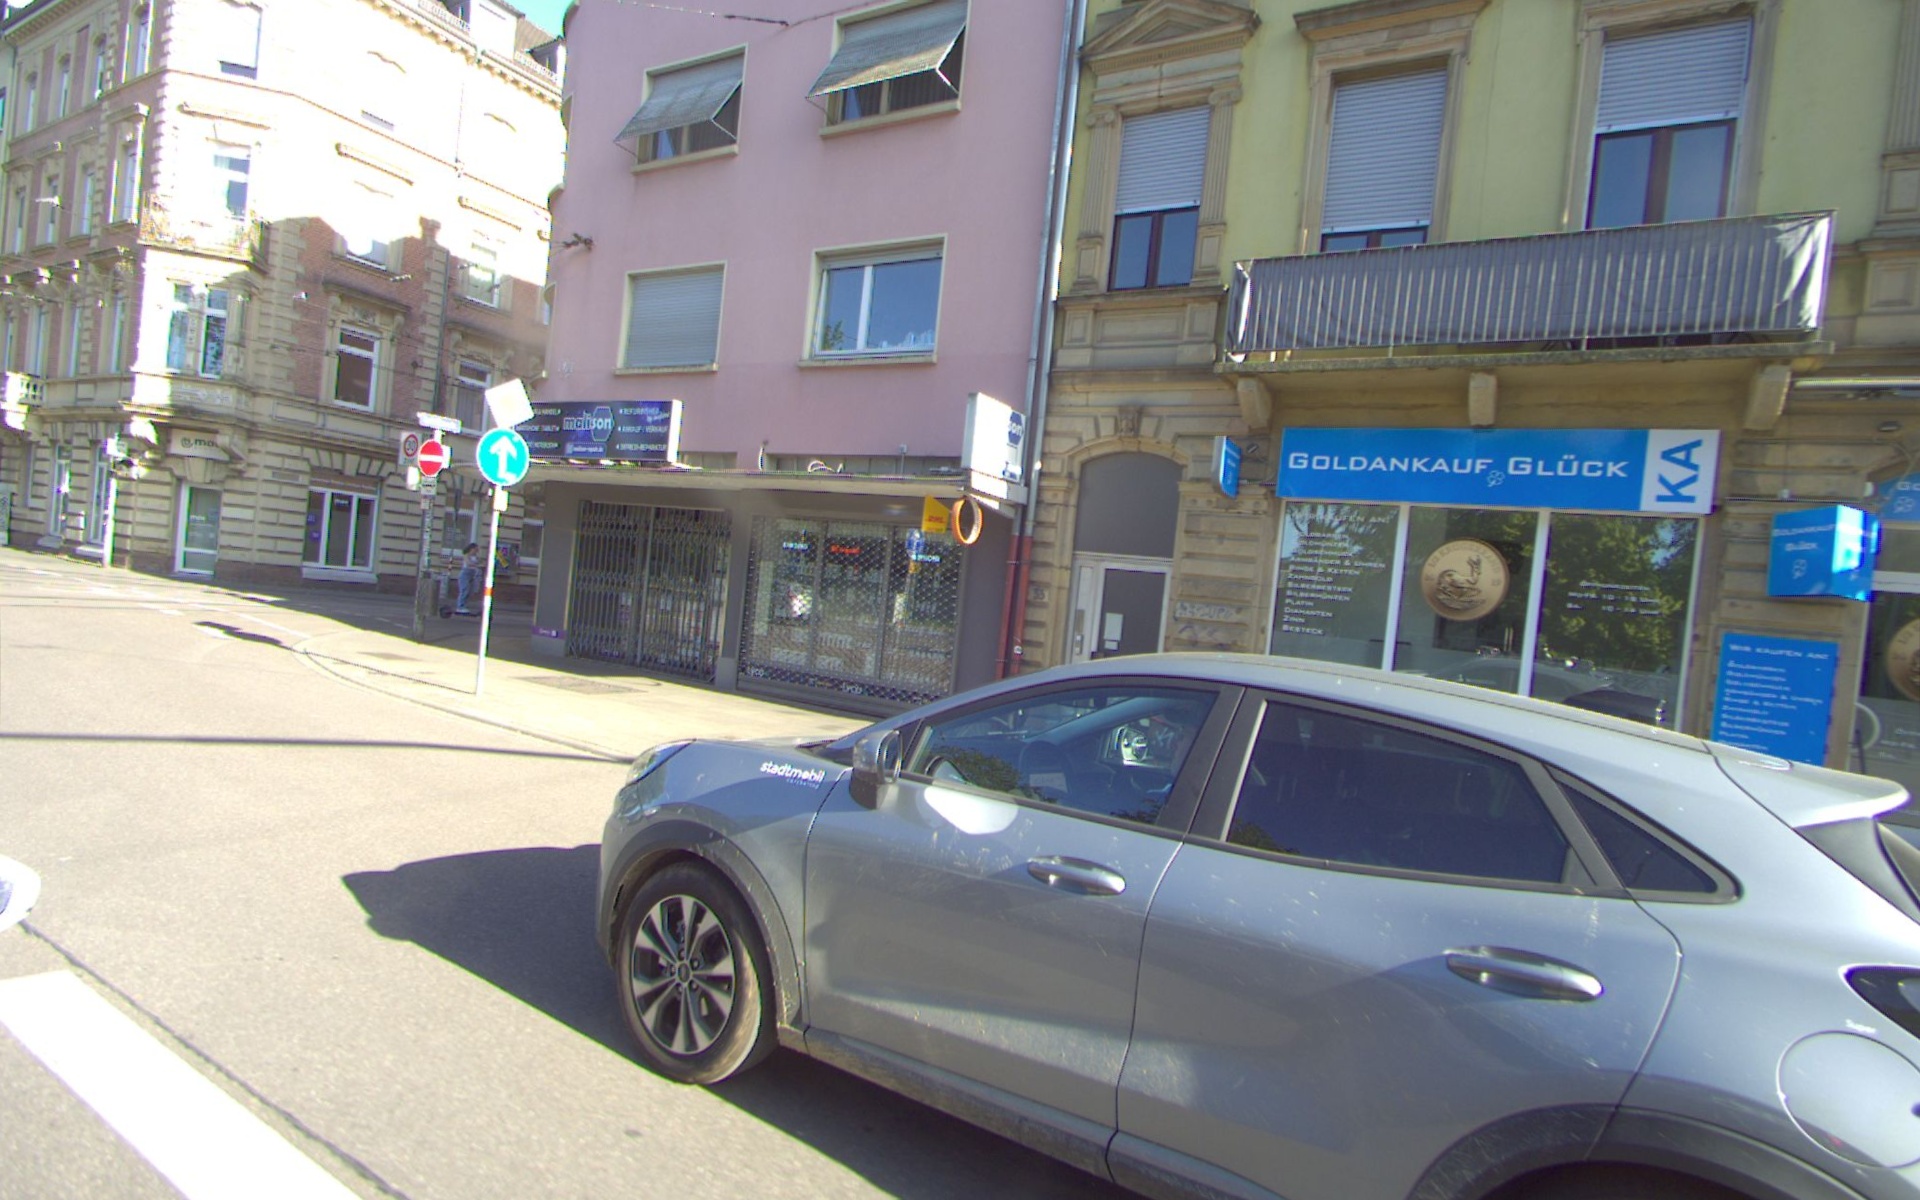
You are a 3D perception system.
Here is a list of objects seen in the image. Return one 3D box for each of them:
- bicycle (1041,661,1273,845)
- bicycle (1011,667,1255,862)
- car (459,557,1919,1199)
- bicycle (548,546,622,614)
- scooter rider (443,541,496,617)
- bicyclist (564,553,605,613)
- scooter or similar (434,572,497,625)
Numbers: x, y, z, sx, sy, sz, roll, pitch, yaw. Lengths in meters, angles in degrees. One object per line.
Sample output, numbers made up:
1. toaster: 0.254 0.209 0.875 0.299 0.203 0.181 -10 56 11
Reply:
1. bicycle: 1.574 1.198 8.252 1.732 1.173 0.448 7 1 38
2. bicycle: 1.299 1.222 7.832 1.783 1.155 0.413 7 0 39
3. car: 0.570 0.890 3.103 4.309 1.546 1.700 6 -1 33
4. bicycle: -12.418 -0.639 33.394 0.596 2.038 2.182 7 0 32
5. scooter rider: -10.614 -0.448 21.765 0.796 1.524 0.467 7 1 19
6. bicyclist: -12.443 -0.549 33.349 0.737 1.852 0.856 7 1 32
7. scooter or similar: -10.699 -0.039 21.757 1.260 1.000 0.338 7 1 19
